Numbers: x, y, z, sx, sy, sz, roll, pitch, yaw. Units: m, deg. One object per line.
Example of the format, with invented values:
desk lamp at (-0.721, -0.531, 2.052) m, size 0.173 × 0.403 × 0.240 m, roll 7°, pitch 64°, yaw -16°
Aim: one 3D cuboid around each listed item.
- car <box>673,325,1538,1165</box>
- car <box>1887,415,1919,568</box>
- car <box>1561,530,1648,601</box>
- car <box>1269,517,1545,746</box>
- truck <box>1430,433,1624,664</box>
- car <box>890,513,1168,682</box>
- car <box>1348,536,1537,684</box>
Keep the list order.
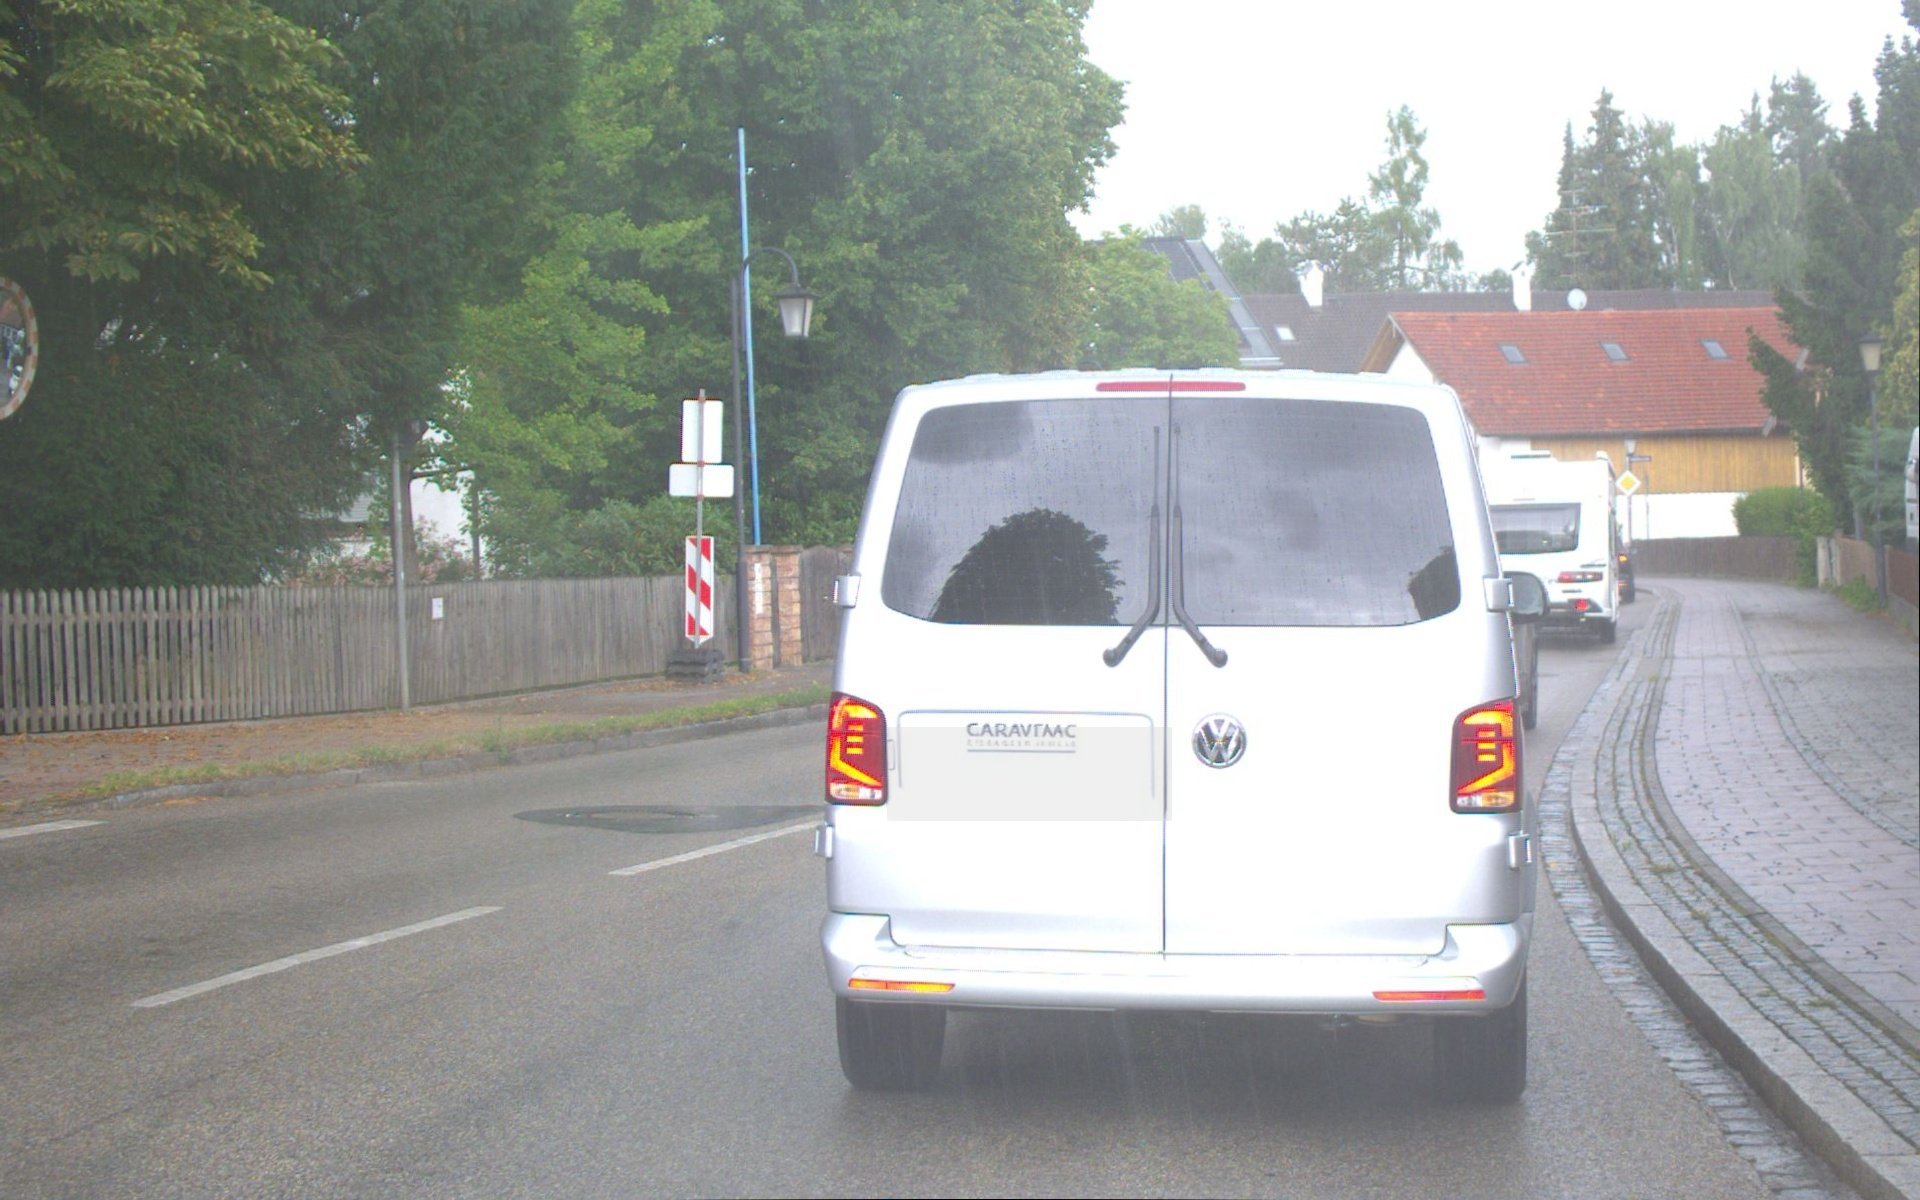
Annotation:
car at (0.654, 0.323, 10.369) m, size 1.802 × 2.007 × 3.997 m, roll 1°, pitch 0°, yaw 14°
car at (14.640, -1.525, 47.822) m, size 1.993 × 2.166 × 4.953 m, roll 1°, pitch 0°, yaw -2°
car at (14.212, -0.752, 75.656) m, size 1.801 × 1.503 × 3.998 m, roll 1°, pitch 0°, yaw 11°
car at (3.489, 0.206, 26.298) m, size 1.801 × 1.583 × 3.998 m, roll 1°, pitch 0°, yaw 11°
truck at (8.199, -0.711, 49.208) m, size 2.477 × 3.063 × 6.293 m, roll 1°, pitch 0°, yaw 11°
car at (0.781, -0.065, 35.066) m, size 1.995 × 1.589 × 4.189 m, roll 1°, pitch 1°, yaw 13°
car at (5.333, 0.090, 37.650) m, size 1.801 × 1.503 × 3.998 m, roll 1°, pitch 0°, yaw 11°
